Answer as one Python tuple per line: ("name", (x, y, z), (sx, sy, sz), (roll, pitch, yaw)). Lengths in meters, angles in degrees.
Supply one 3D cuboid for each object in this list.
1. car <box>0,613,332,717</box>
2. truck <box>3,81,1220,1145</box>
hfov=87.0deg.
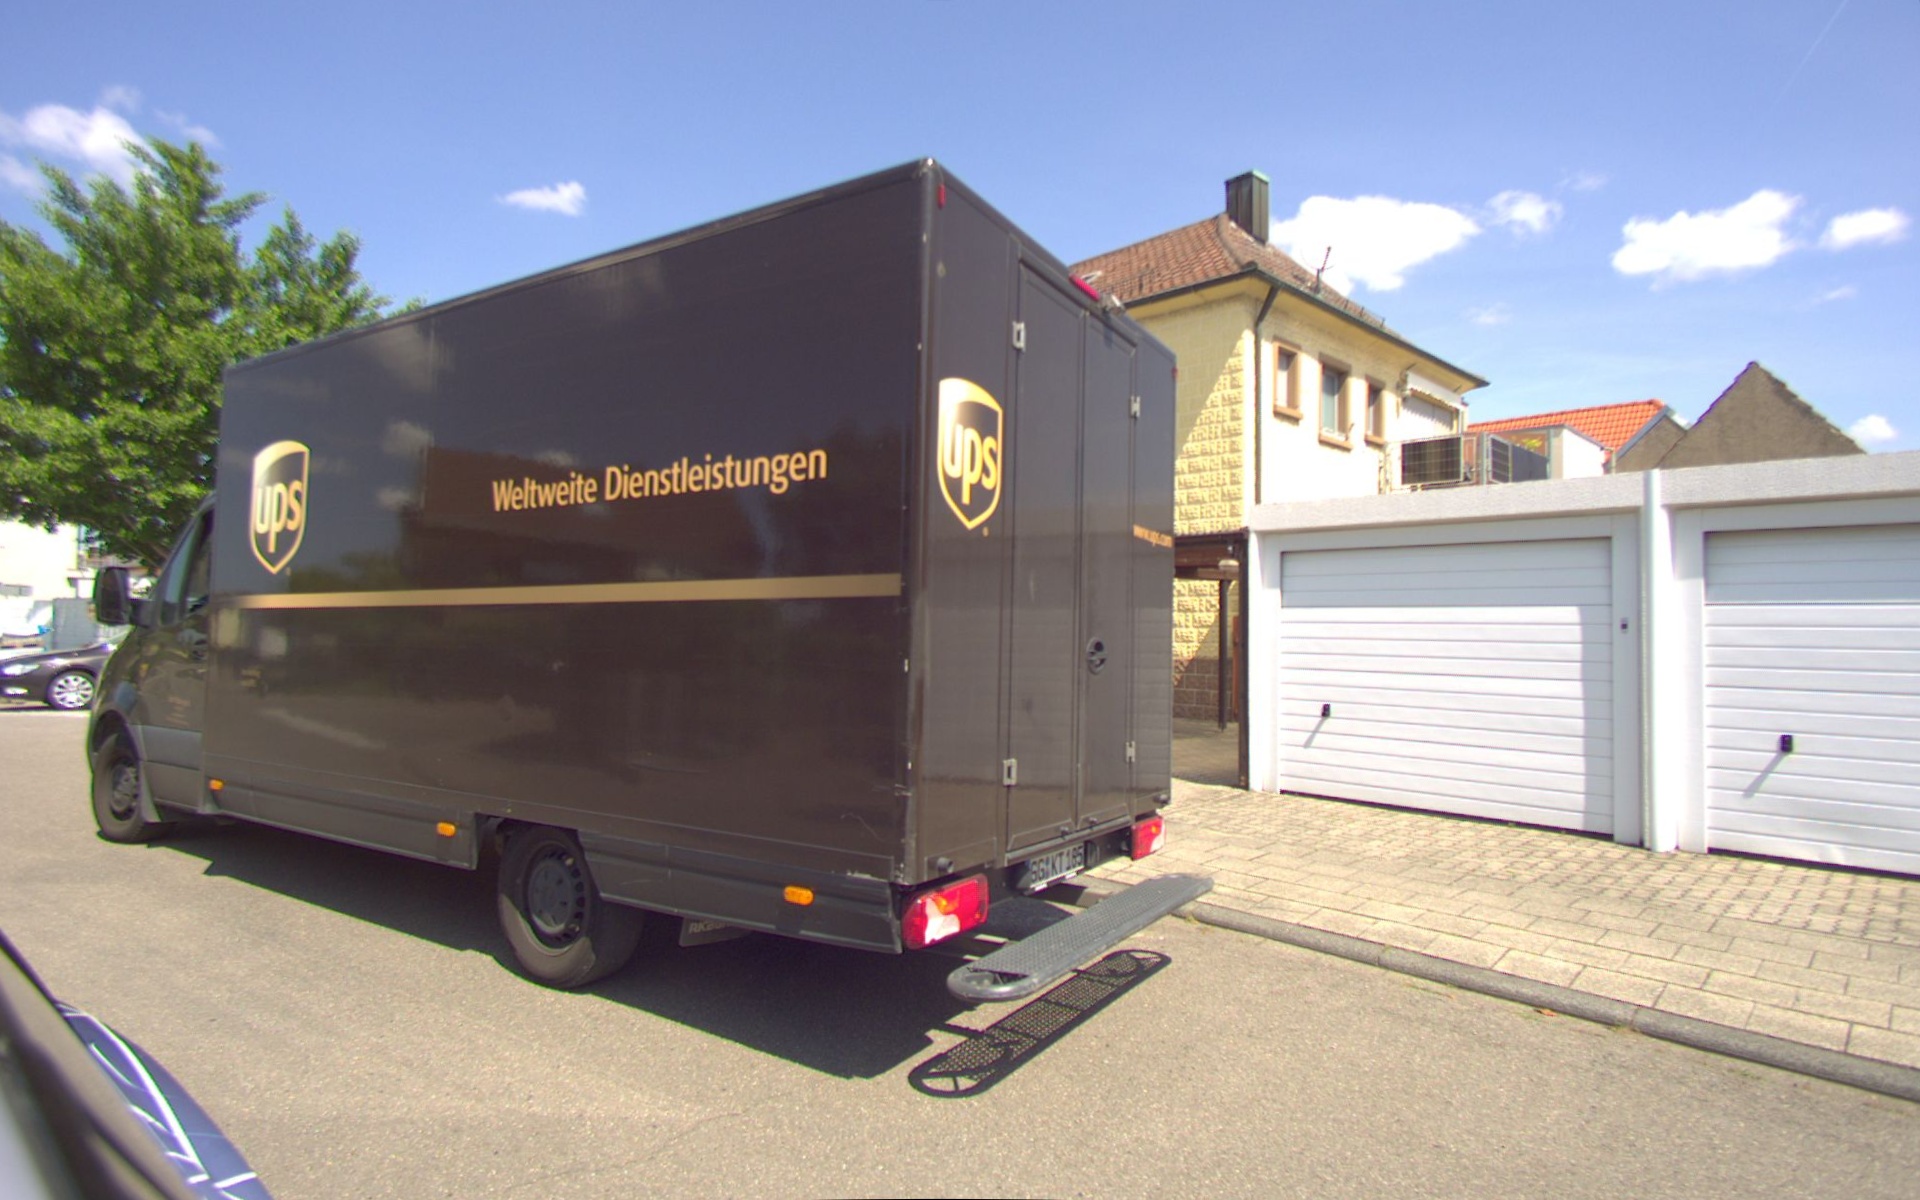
("car", (-13.657, 1.043, 17.336), (1.786, 1.547, 4.644), (-4, -3, 42))
("truck", (-2.504, 0.086, 5.693), (7.277, 2.809, 2.414), (0, -5, 33))
